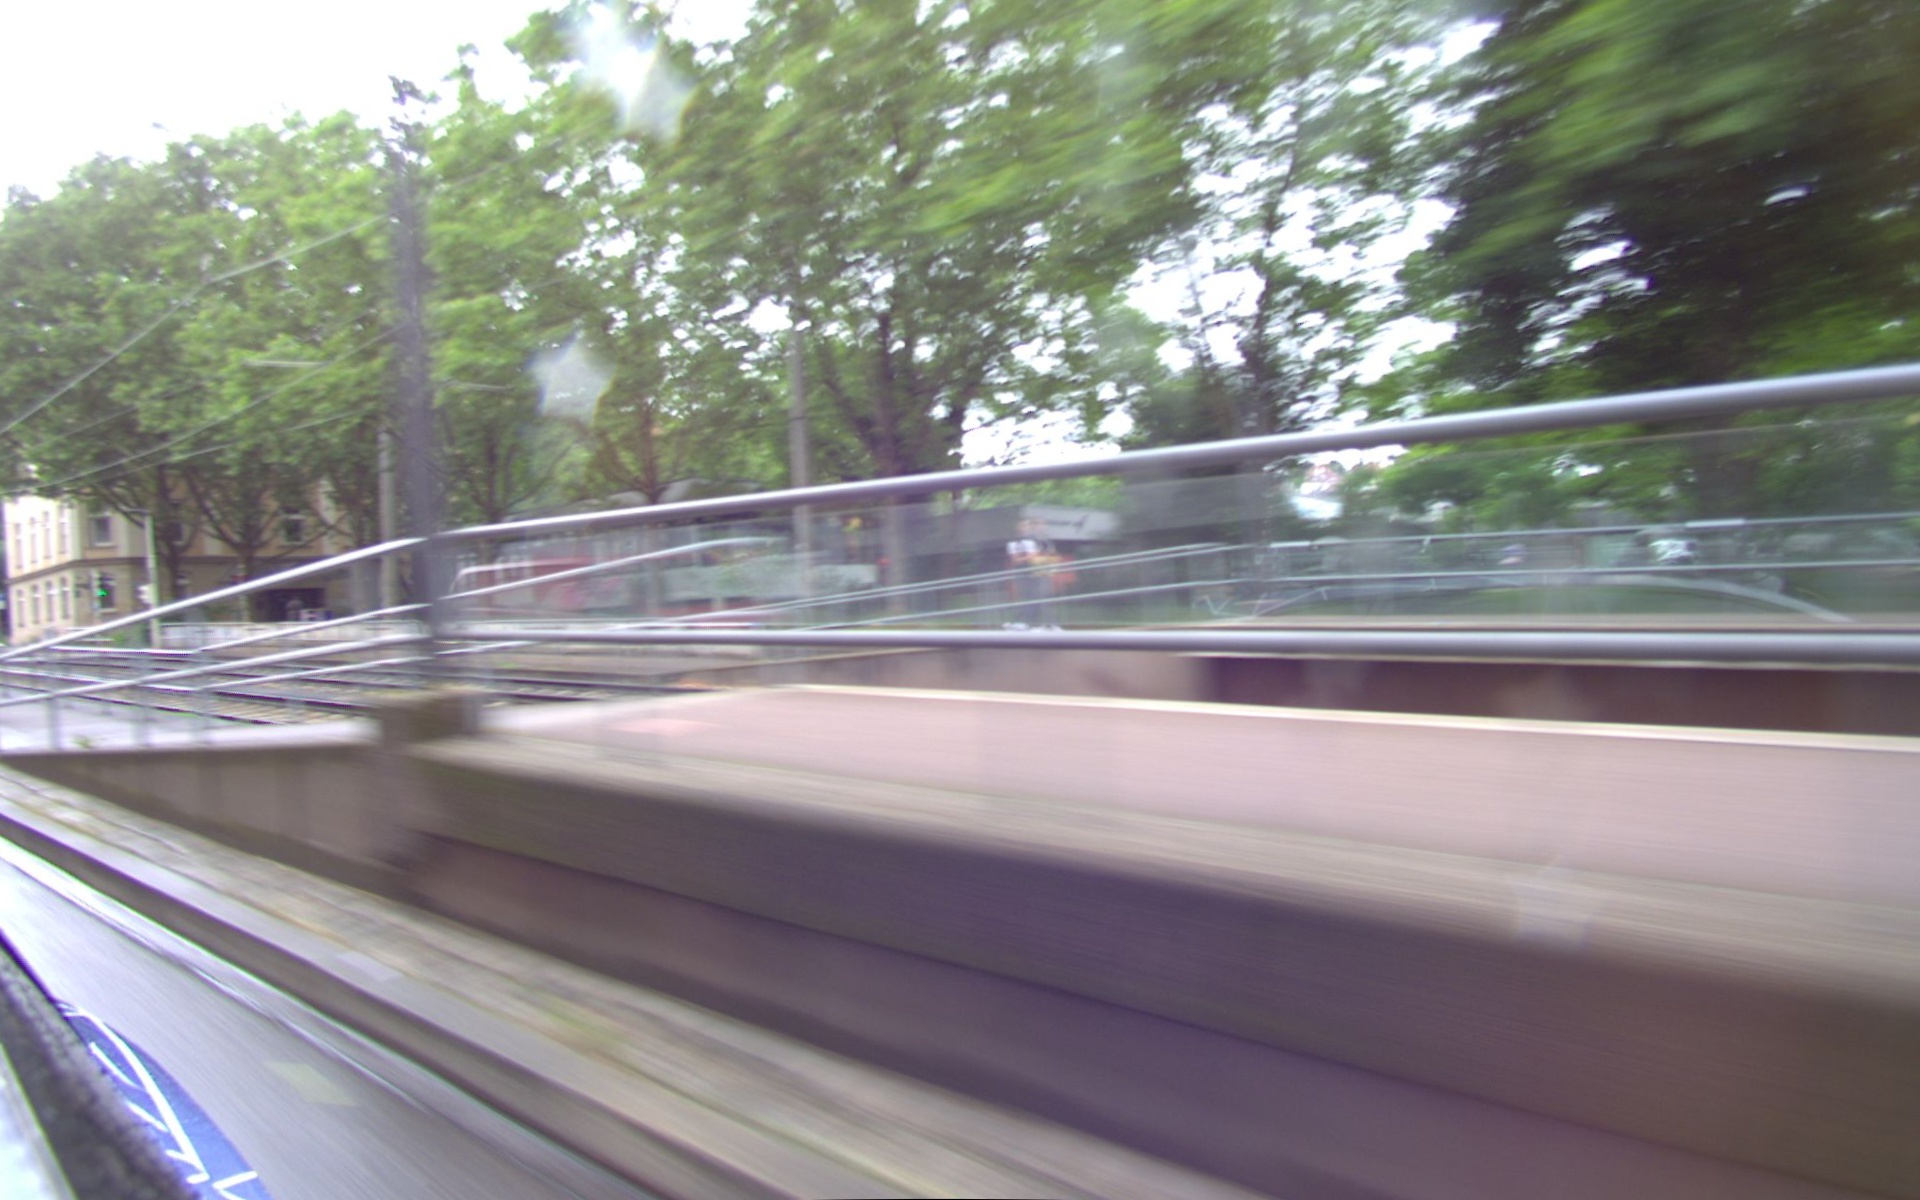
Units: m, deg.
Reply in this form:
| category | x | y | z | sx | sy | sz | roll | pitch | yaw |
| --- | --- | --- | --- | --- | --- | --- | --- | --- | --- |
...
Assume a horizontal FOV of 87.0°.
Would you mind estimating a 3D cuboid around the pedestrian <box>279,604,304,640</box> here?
| category | x | y | z | sx | sy | sz | roll | pitch | yaw |
| --- | --- | --- | --- | --- | --- | --- | --- | --- | --- |
| pedestrian | -34.065 | 1.123 | 51.561 | 0.872 | 1.812 | 0.850 | -2 | 1 | 43 |

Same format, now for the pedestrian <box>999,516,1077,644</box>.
| category | x | y | z | sx | sy | sz | roll | pitch | yaw |
| --- | --- | --- | --- | --- | --- | --- | --- | --- | --- |
| pedestrian | 1.078 | -0.269 | 14.008 | 0.686 | 1.675 | 0.652 | -7 | -2 | 36 |

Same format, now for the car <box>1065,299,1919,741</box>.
| category | x | y | z | sx | sy | sz | roll | pitch | yaw |
| --- | --- | --- | --- | --- | --- | --- | --- | --- | --- |
| car | 2.424 | -0.238 | 4.742 | 3.458 | 1.400 | 1.676 | -2 | 0 | 37 |
